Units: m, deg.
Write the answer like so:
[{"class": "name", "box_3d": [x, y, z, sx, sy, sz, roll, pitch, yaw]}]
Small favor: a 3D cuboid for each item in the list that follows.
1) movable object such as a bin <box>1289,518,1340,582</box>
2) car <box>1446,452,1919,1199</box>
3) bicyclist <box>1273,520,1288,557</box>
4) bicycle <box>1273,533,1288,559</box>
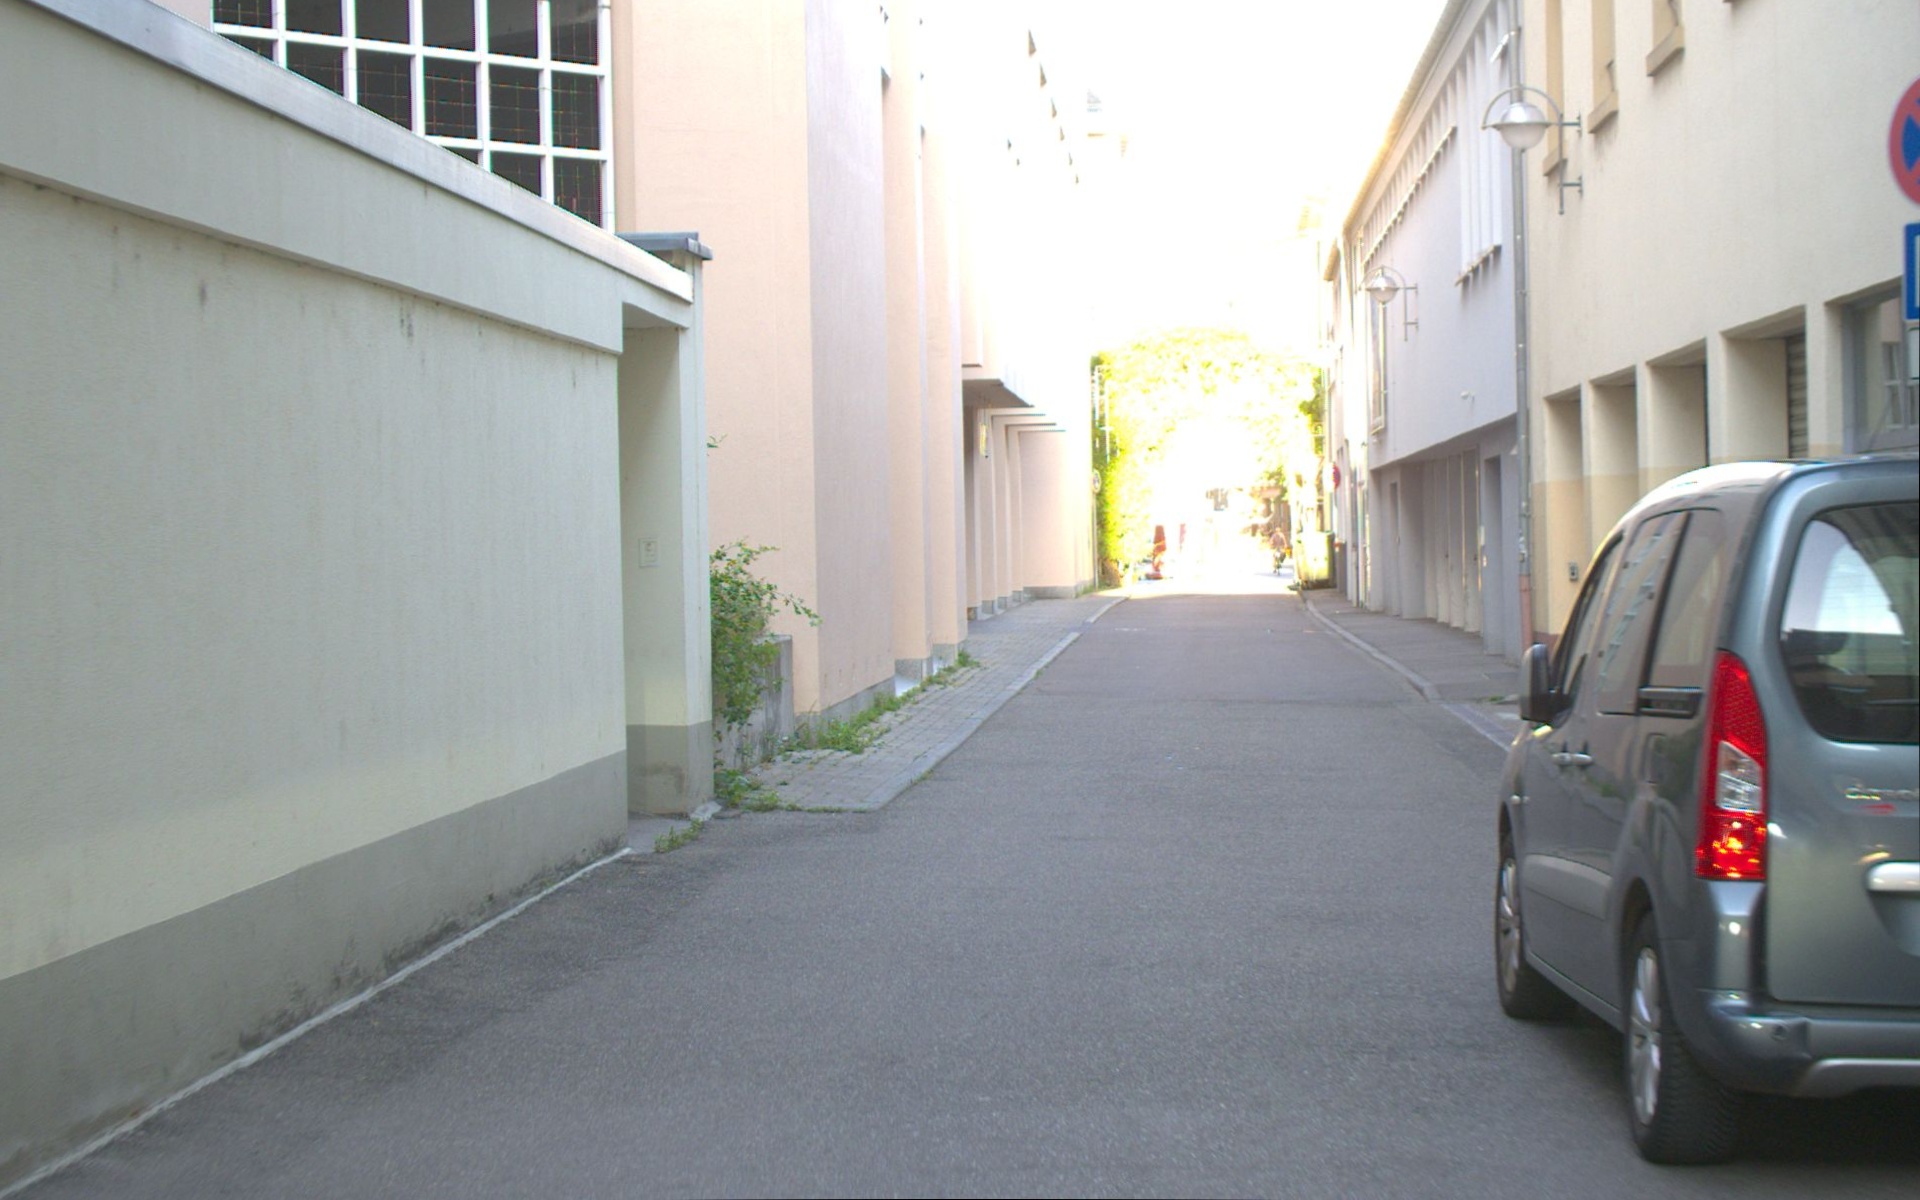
[{"class": "movable object such as a bin", "box_3d": [8.456, -1.194, 82.005, 1.107, 1.431, 1.414, -2, 2, 4]}, {"class": "car", "box_3d": [2.584, 0.512, 9.866, 1.855, 1.749, 4.162, 1, 1, 2]}, {"class": "bicyclist", "box_3d": [11.561, -2.215, 124.066, 0.512, 1.318, 0.558, -1, 1, 7]}, {"class": "bicycle", "box_3d": [11.569, -1.943, 124.078, 0.443, 0.912, 1.516, -1, 1, 7]}]
